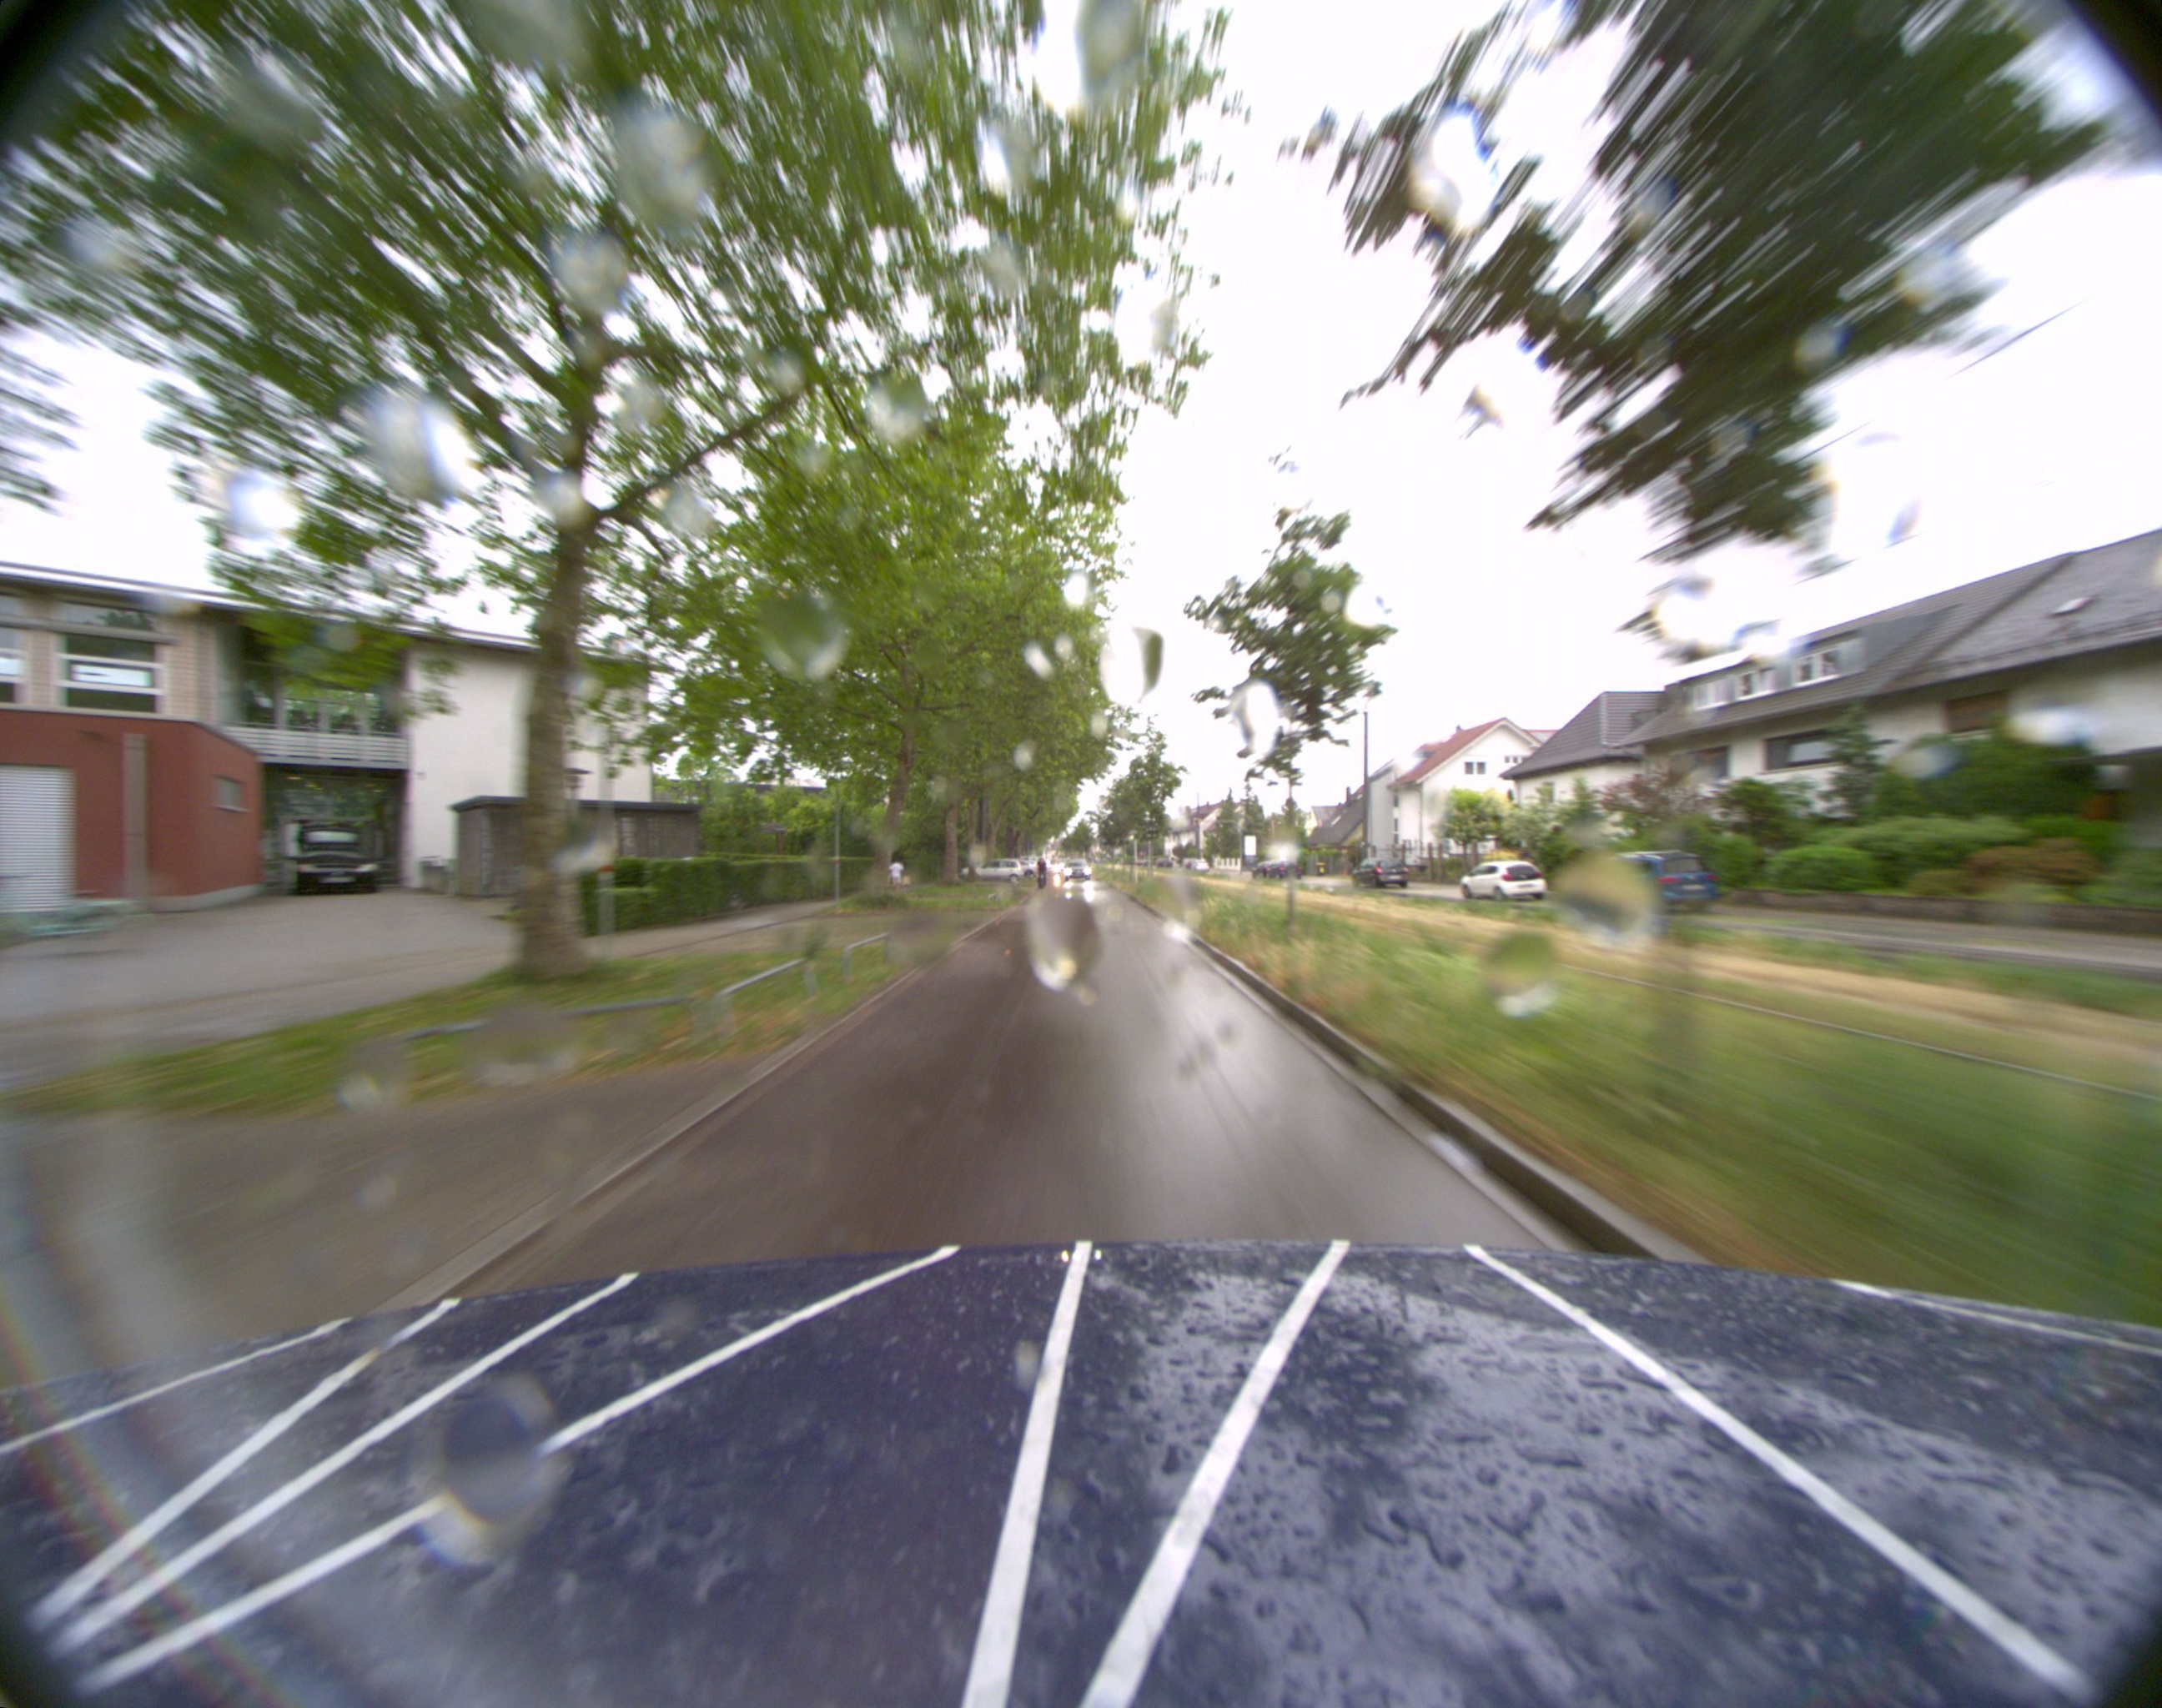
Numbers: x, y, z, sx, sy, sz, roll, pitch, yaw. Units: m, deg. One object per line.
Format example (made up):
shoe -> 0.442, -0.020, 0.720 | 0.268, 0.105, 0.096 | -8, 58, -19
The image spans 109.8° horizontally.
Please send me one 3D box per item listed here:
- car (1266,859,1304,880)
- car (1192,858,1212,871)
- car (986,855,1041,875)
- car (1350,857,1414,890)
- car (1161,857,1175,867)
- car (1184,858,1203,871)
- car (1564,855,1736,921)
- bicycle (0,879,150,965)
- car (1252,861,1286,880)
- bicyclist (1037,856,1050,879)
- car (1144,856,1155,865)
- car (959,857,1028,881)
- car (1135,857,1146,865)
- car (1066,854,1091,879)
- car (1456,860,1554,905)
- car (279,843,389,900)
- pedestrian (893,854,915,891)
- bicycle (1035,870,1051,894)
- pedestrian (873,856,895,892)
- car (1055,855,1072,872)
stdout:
car -> 15.620, 1.159, 58.352 | 1.759, 1.507, 3.854 | -3, 0, 0
car -> 14.638, 1.231, 92.090 | 1.759, 1.507, 3.854 | -3, 0, 0
car -> -5.264, 0.857, 59.075 | 4.020, 1.478, 1.636 | 0, 0, -19
car -> 16.107, 1.004, 40.820 | 1.759, 1.604, 4.110 | -3, 0, 0
car -> 13.621, 1.220, 119.268 | 1.759, 1.507, 3.854 | -3, 0, 0
car -> 14.264, 1.300, 96.649 | 1.759, 1.507, 3.854 | -3, 0, 0
car -> 16.480, 0.904, 22.324 | 1.849, 1.696, 4.182 | -1, 0, -1
bicycle -> -14.580, 0.934, 10.617 | 0.519, 1.115, 1.942 | 3, 1, 43
car -> 15.474, 1.311, 62.758 | 1.893, 1.490, 4.000 | 0, 0, 1
bicyclist -> -1.800, 0.631, 36.270 | 0.622, 1.078, 0.624 | 0, 1, -1
car -> 12.644, 1.228, 140.322 | 1.759, 1.507, 3.854 | -3, 0, 0
car -> -5.510, 0.935, 47.680 | 4.020, 1.478, 1.636 | 0, 0, -19
car -> 11.929, 1.312, 152.107 | 1.759, 1.507, 3.854 | -3, 0, 0
car -> -0.168, 0.919, 56.386 | 1.767, 1.715, 3.935 | -2, -1, 0
car -> 16.301, 1.050, 29.420 | 1.718, 1.520, 3.601 | -3, 0, 0
car -> -20.936, 0.433, 21.449 | 1.753, 1.443, 3.572 | -2, 1, -38
pedestrian -> -7.499, 0.785, 32.177 | 0.750, 1.529, 0.584 | 0, 1, -36
bicycle -> -1.800, 1.326, 36.249 | 0.659, 1.008, 2.256 | 0, 1, -1
pedestrian -> -8.284, 0.834, 31.947 | 0.748, 1.529, 0.585 | 0, 0, -1
car -> -1.825, 0.944, 79.639 | 1.767, 1.715, 3.934 | -1, 0, -1
